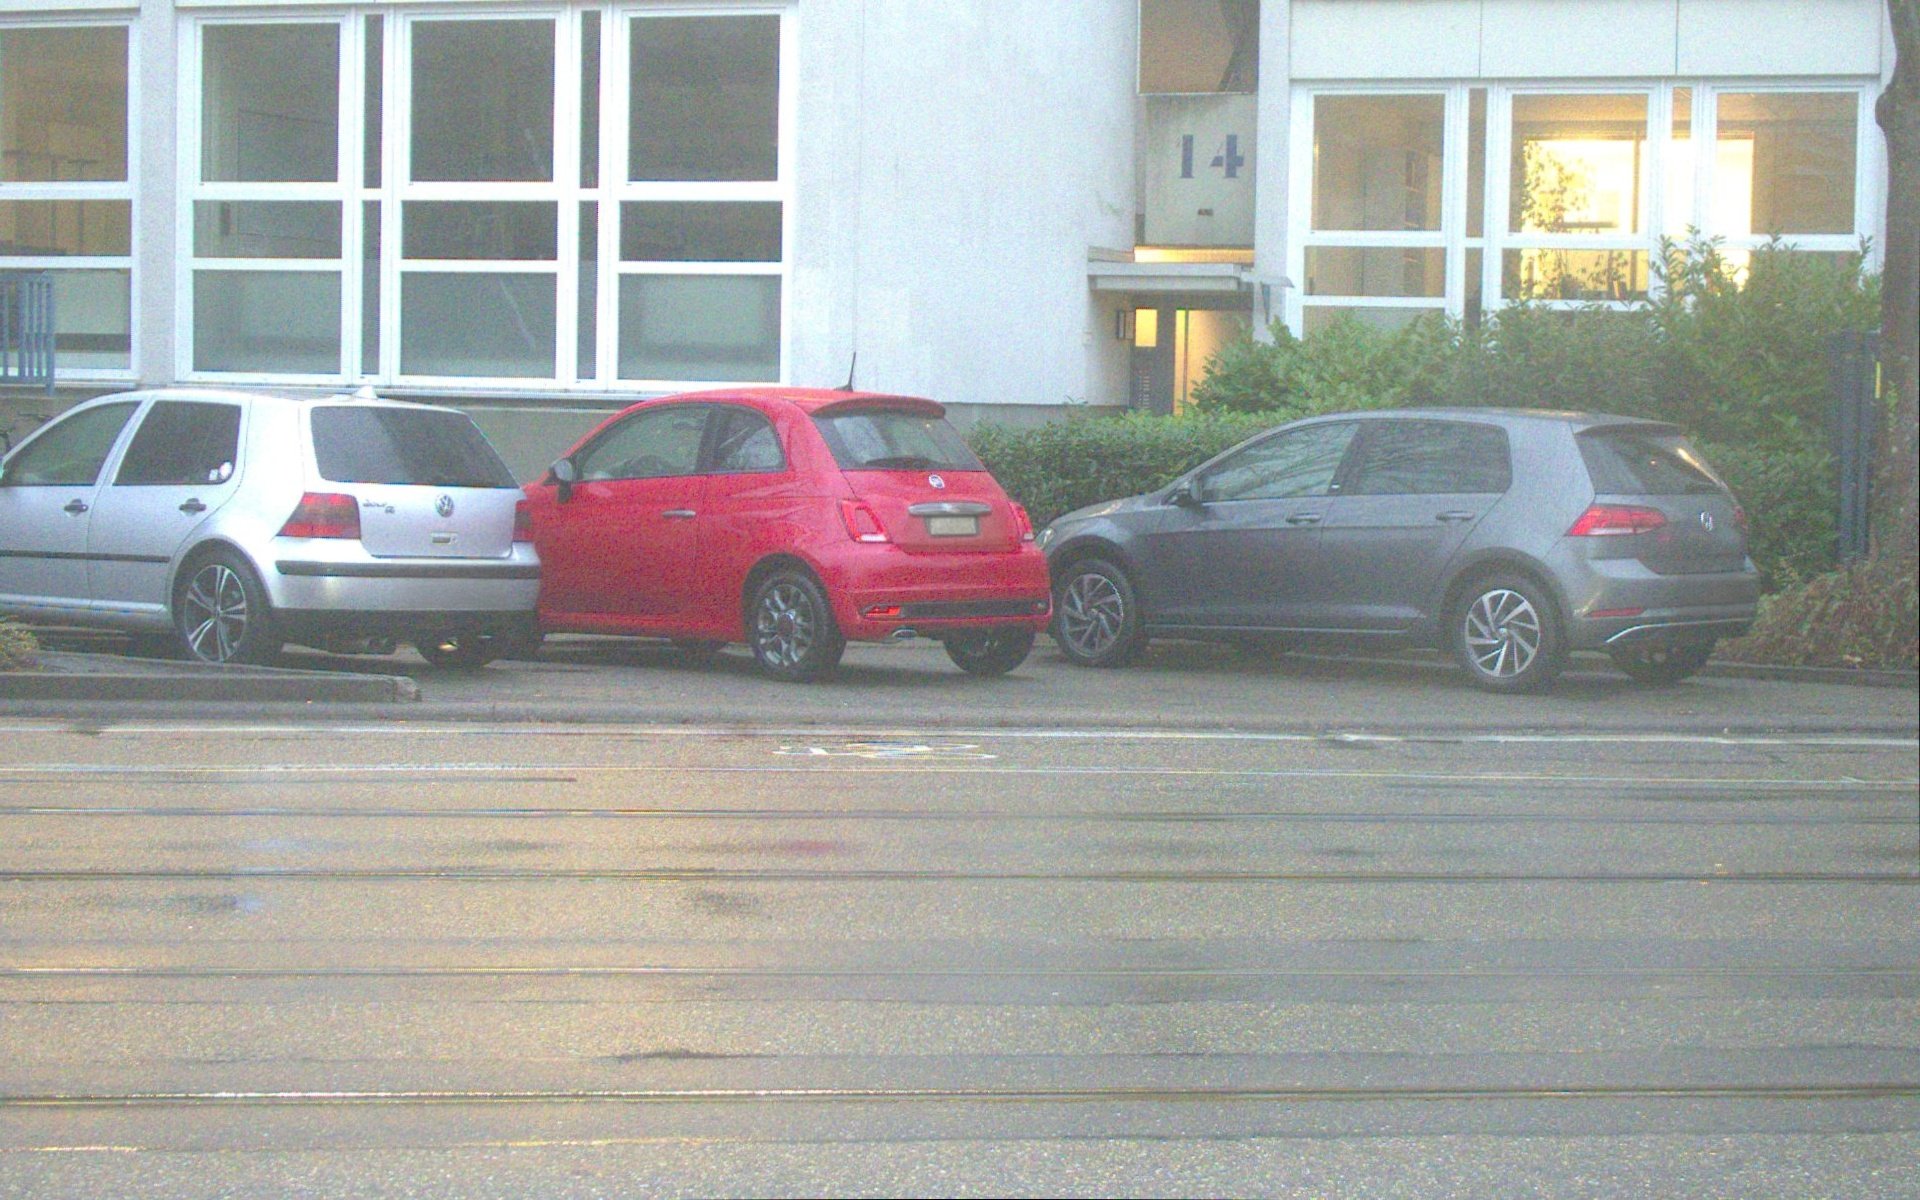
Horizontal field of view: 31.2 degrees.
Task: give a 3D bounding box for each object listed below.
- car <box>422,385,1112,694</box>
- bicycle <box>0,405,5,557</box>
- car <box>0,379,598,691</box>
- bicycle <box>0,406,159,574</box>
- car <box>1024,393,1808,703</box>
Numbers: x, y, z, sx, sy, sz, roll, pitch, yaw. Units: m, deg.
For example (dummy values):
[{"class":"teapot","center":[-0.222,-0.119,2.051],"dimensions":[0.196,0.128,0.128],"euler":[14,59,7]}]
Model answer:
[{"class":"car","center":[-1.083,-0.392,18.353],"dimensions":[3.448,1.487,1.725],"euler":[3,4,41]},{"class":"bicycle","center":[-7.635,-0.828,24.322],"dimensions":[0.640,1.116,2.204],"euler":[1,3,15]},{"class":"car","center":[-3.958,-0.412,17.833],"dimensions":[3.996,1.441,1.789],"euler":[3,4,37]},{"class":"bicycle","center":[-6.433,-0.794,24.037],"dimensions":[0.640,1.116,2.204],"euler":[1,3,15]},{"class":"car","center":[2.382,-0.356,18.491],"dimensions":[3.850,1.487,1.692],"euler":[3,4,39]}]
